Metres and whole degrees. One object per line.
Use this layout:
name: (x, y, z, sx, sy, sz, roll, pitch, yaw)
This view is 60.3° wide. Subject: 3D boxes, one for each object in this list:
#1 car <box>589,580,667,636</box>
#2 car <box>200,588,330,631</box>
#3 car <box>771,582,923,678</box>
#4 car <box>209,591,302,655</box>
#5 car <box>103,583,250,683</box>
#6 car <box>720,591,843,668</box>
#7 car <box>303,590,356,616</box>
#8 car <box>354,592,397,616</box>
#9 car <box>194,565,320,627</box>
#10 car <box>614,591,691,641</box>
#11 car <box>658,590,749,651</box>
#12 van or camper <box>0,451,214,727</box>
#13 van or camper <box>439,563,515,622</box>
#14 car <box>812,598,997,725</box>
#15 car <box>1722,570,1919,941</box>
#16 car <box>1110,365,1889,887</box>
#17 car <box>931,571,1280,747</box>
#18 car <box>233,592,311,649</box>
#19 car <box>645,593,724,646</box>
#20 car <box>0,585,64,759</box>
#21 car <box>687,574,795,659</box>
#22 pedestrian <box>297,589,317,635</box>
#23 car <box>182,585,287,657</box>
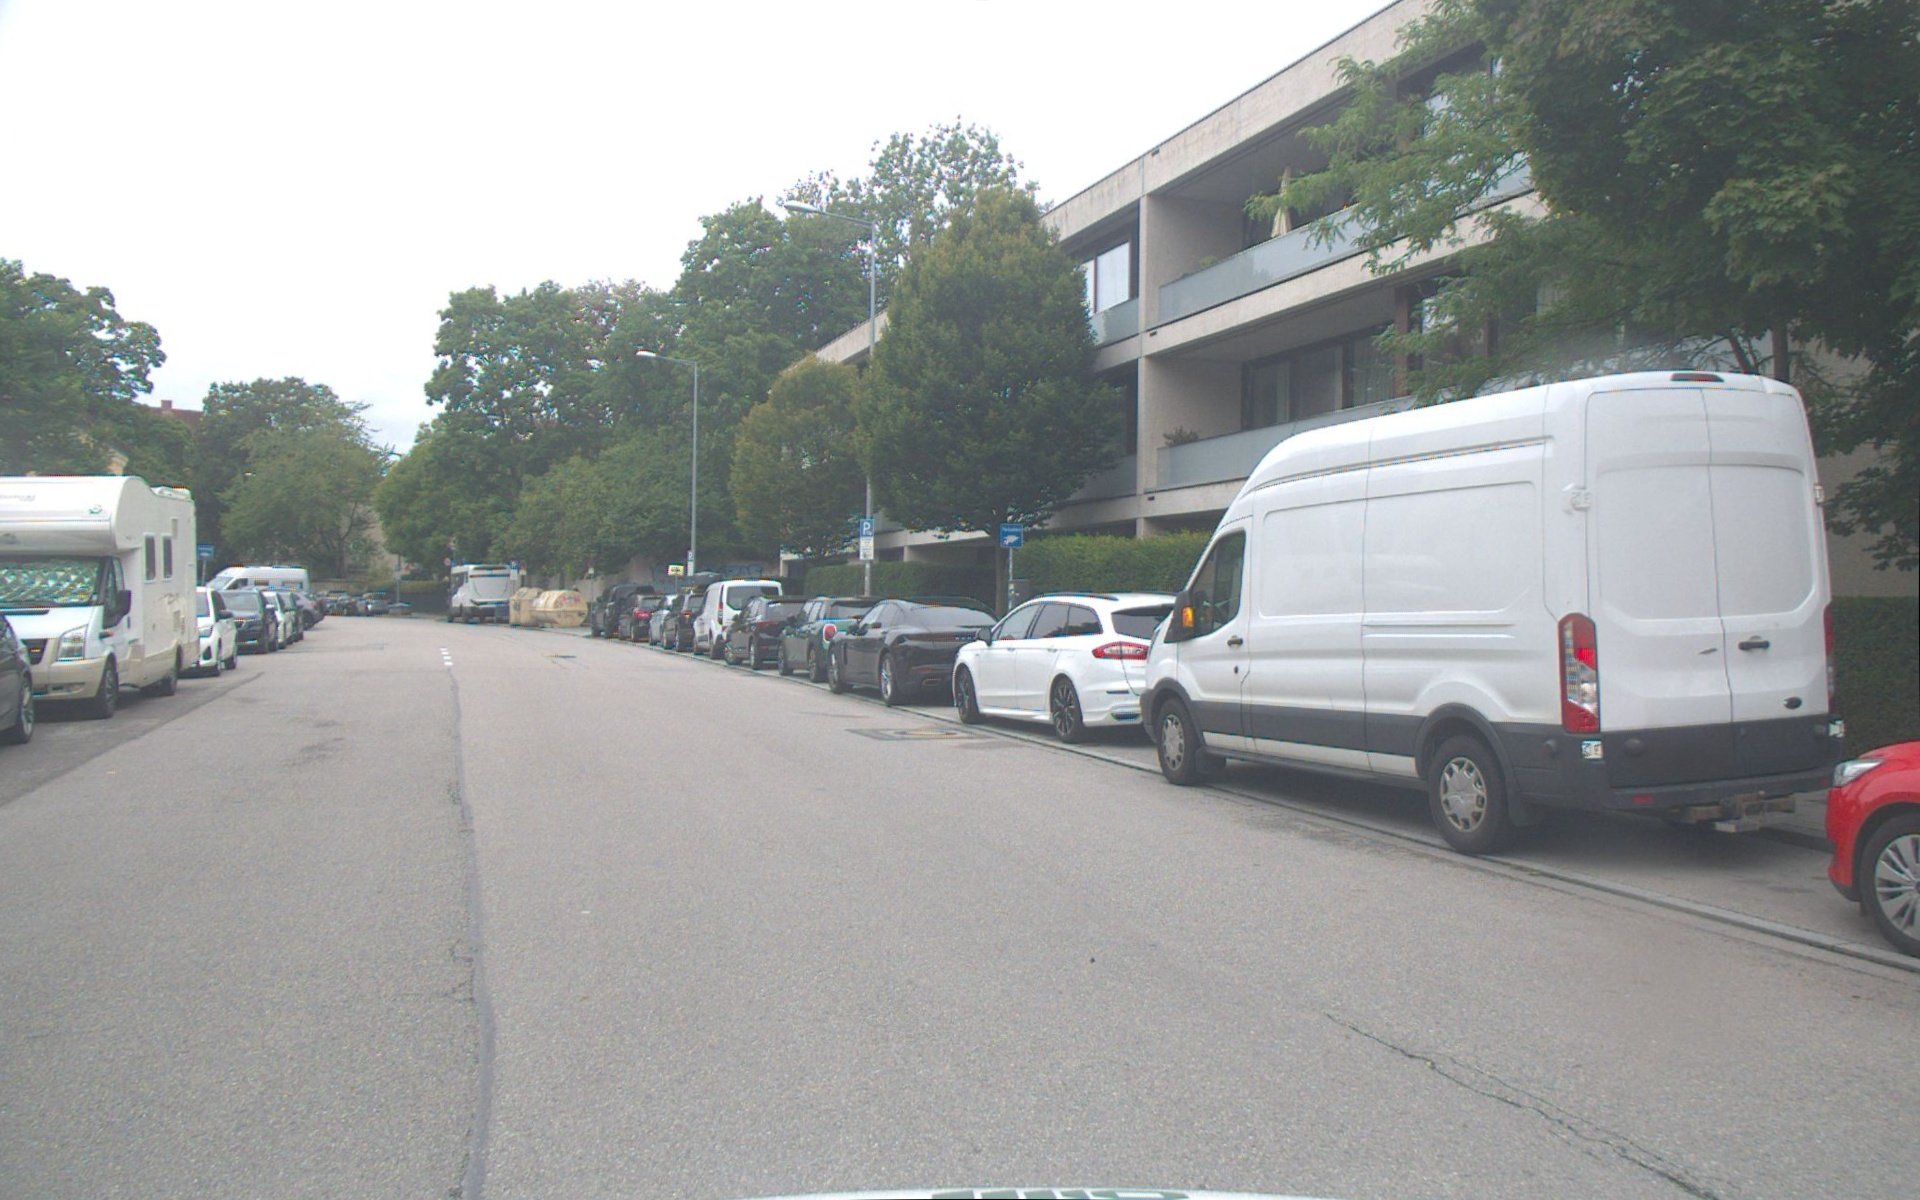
car: (-12.013, 0.324, 59.668, 1.959, 1.904, 5.046, 1, -1, -21)
car: (-26.116, 0.367, 62.208, 4.289, 1.556, 1.912, 0, -1, -33)
car: (-2.090, 0.469, 29.339, 1.700, 1.555, 4.182, -1, 1, -18)
car: (-18.803, 0.564, 44.311, 1.817, 1.561, 4.498, -2, 1, -18)
car: (-13.708, 0.522, 29.151, 1.751, 1.561, 4.206, -2, 1, -18)
car: (-3.777, 0.559, 34.377, 1.721, 1.489, 4.220, 0, 0, -18)
car: (-44.559, 0.191, 116.876, 1.983, 1.741, 4.811, -1, 1, -41)
car: (-38.985, 0.252, 110.248, 1.729, 1.563, 2.902, -1, 0, -41)
car: (-30.601, -0.183, 72.085, 2.191, 2.608, 4.617, 0, 1, 37)
car: (-10.213, 0.491, 54.640, 1.722, 1.566, 4.541, 1, 0, -21)
car: (-7.011, 0.518, 44.867, 1.721, 1.506, 4.574, 1, 0, -18)
van or camper: (-11.532, -0.137, 21.390, 2.416, 2.992, 7.178, -1, 1, -17)
van or camper: (-25.688, -0.387, 87.814, 2.248, 2.957, 7.204, 1, 0, -30)
car: (-0.935, 0.788, 24.005, 1.261, 1.532, 5.180, -2, 1, -18)
car: (5.345, 0.662, 6.030, 1.843, 1.533, 4.810, -2, 1, -20)
car: (3.289, 0.066, 11.872, 2.049, 2.733, 6.053, -2, 1, -19)
car: (1.402, 0.511, 18.279, 1.844, 1.596, 4.970, -2, 2, -21)
car: (-20.306, 0.570, 48.967, 1.818, 1.561, 4.536, -2, 1, -19)
car: (-8.253, 0.565, 49.295, 1.721, 1.506, 3.867, 1, 0, -19)
car: (-9.567, 0.662, 14.785, 1.907, 1.534, 4.795, -2, 1, -19)
car: (-5.360, 0.360, 40.015, 1.793, 1.893, 4.875, 2, 0, -17)
pedestrian: (-24.362, 0.447, 61.731, 0.583, 1.676, 0.708, -1, 1, -29)
car: (-17.346, 0.490, 39.741, 1.817, 1.562, 4.418, -2, 0, -18)
